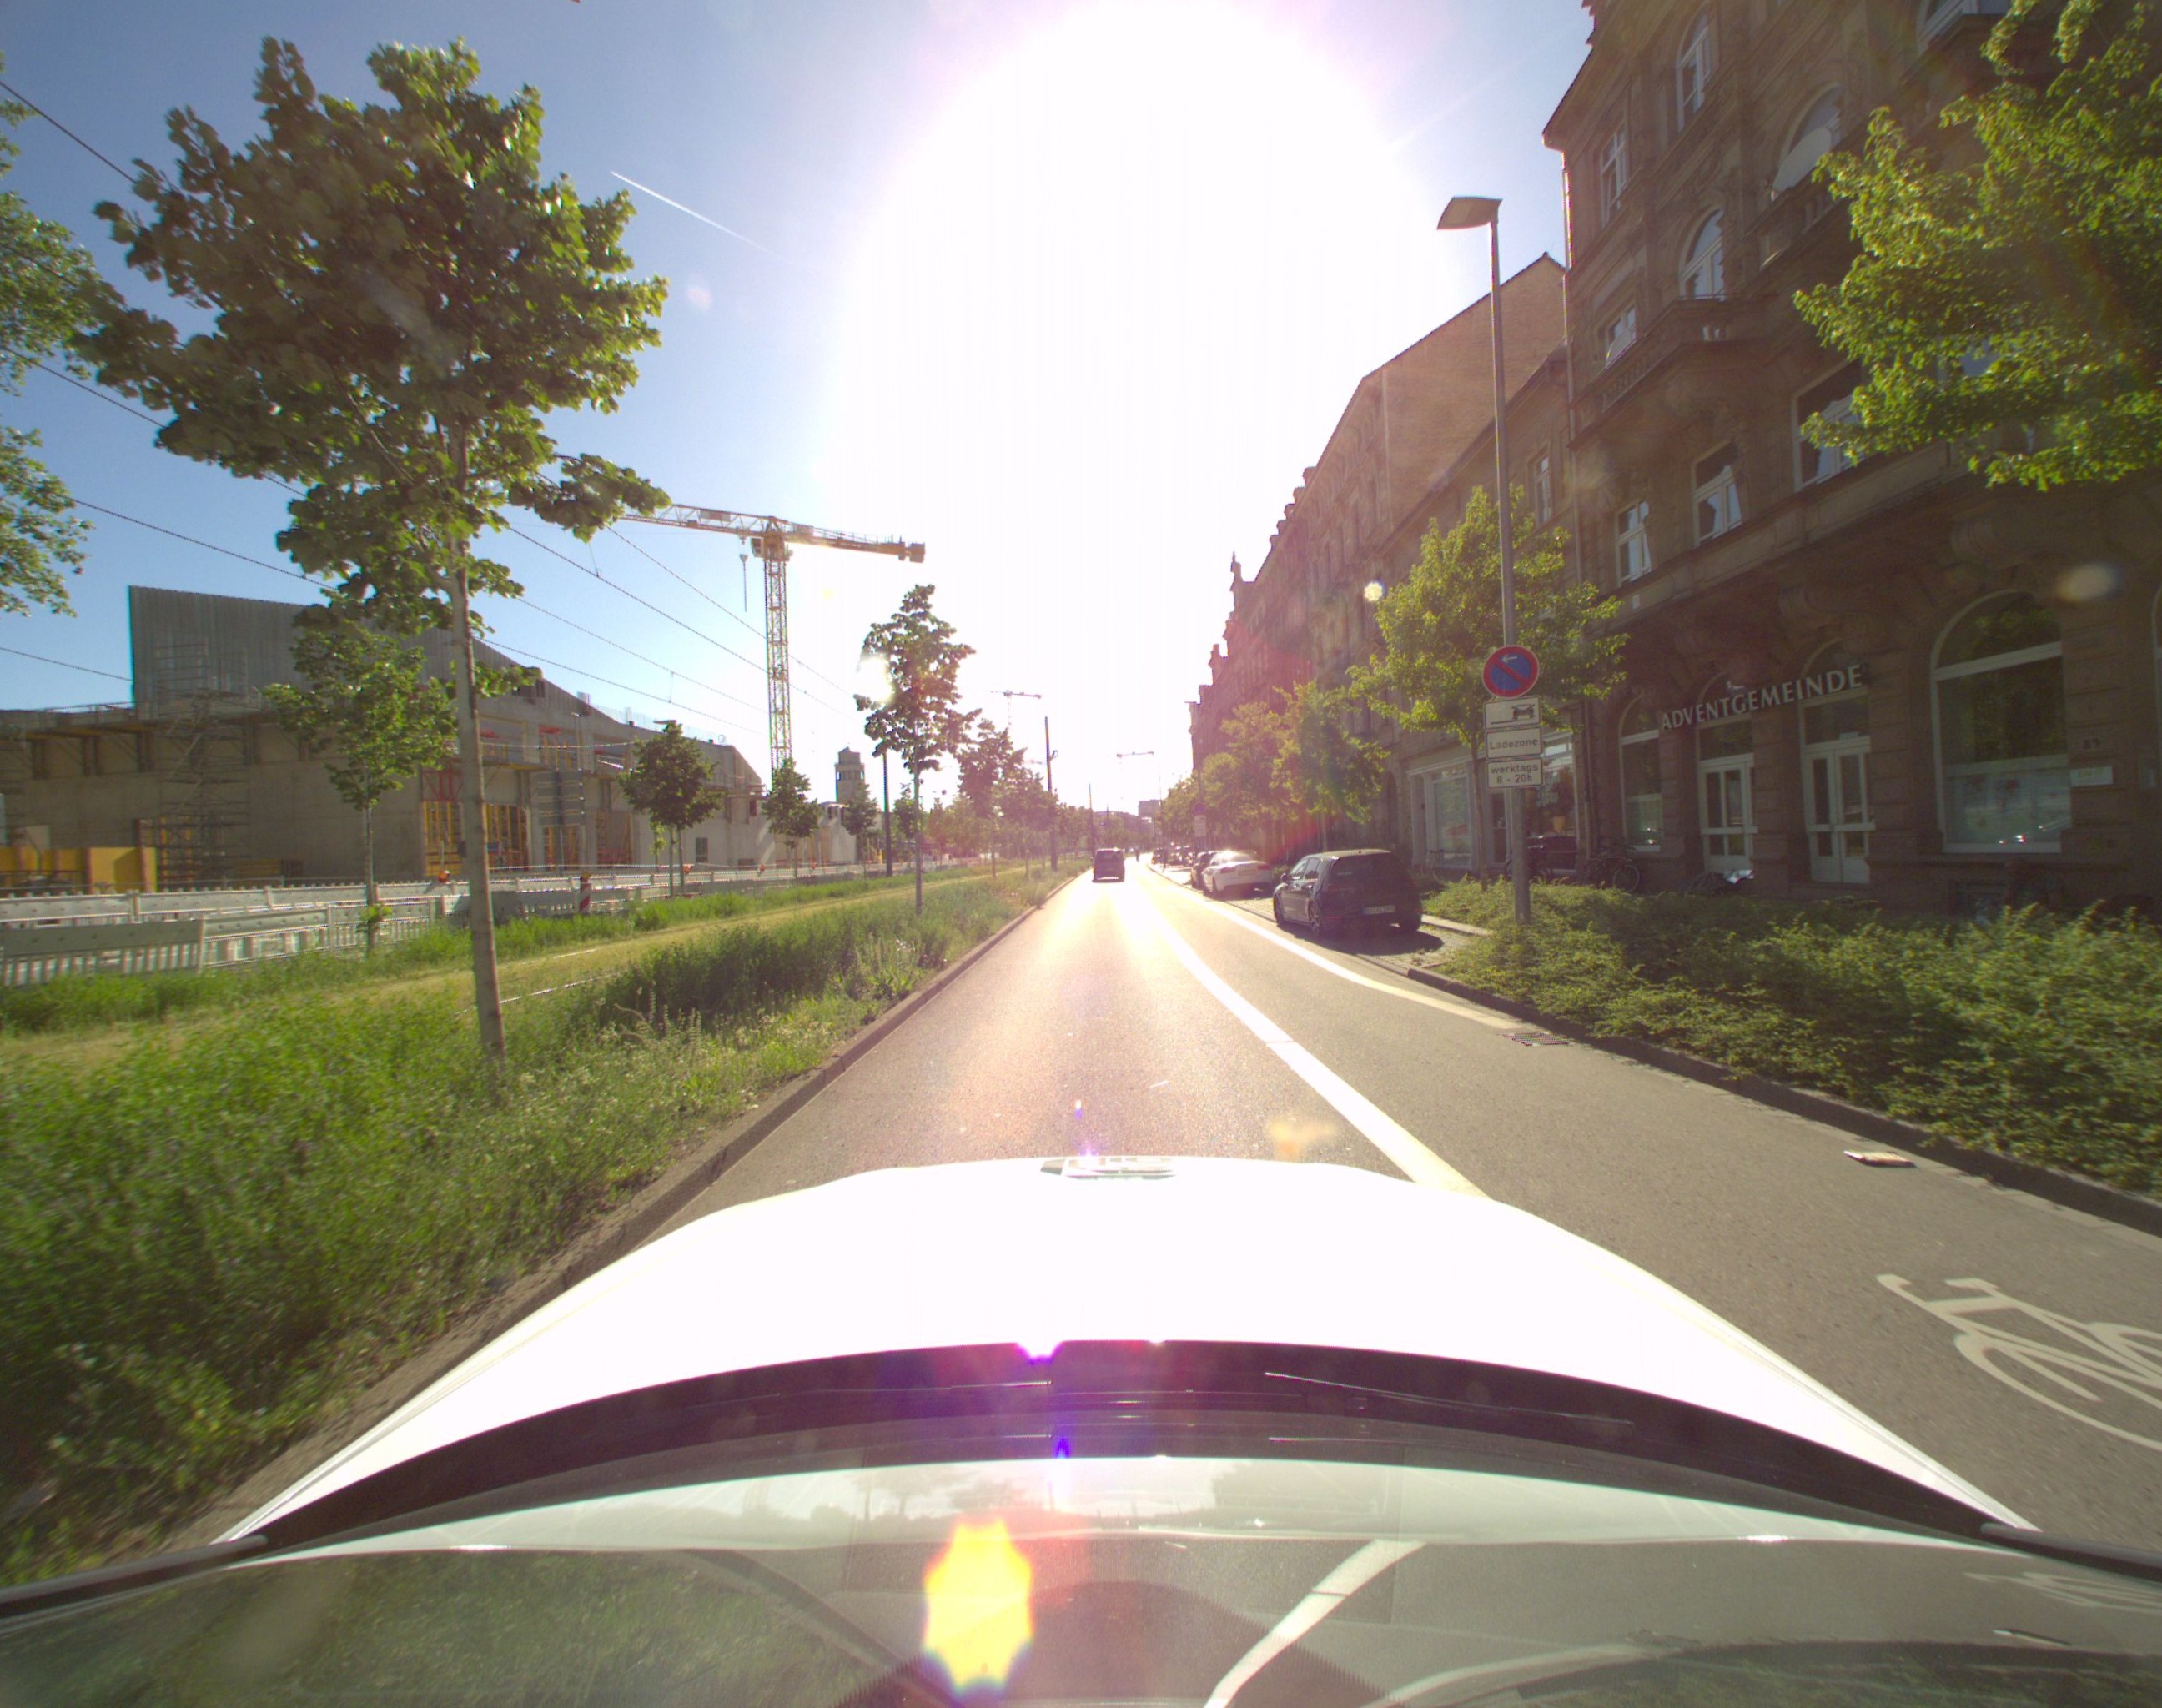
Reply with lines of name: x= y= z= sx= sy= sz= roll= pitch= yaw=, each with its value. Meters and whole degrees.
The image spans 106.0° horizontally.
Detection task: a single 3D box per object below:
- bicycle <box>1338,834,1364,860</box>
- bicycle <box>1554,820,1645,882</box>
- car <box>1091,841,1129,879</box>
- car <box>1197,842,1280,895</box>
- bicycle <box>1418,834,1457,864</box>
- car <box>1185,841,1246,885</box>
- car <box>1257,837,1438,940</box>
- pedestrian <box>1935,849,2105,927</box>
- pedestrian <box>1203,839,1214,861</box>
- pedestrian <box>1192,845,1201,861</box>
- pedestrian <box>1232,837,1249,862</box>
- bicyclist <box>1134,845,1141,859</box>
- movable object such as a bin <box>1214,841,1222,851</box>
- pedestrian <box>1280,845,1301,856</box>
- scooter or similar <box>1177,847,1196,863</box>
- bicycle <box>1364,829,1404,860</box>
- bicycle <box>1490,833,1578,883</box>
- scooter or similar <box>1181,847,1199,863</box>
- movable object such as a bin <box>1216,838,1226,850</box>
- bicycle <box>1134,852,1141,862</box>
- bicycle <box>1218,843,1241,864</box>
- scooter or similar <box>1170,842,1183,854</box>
bicycle: x=11.910 y=-0.324 z=35.947 sx=0.479 sy=1.090 sz=2.058 roll=-4 pitch=1 yaw=2
bicycle: x=11.032 y=-0.056 z=17.409 sx=0.745 sy=1.201 sz=1.801 roll=-4 pitch=0 yaw=2
car: x=1.596 y=0.343 z=46.820 sx=1.987 sy=2.013 sz=3.999 roll=-2 pitch=0 yaw=0
car: x=5.284 y=0.423 z=27.967 sx=1.944 sy=1.495 sz=5.108 roll=-5 pitch=0 yaw=2
bicycle: x=11.822 y=-0.167 z=27.052 sx=0.445 sy=0.945 sz=2.013 roll=-2 pitch=1 yaw=2
car: x=5.645 y=0.349 z=34.700 sx=1.877 sy=1.569 sz=4.222 roll=-5 pitch=0 yaw=1
car: x=4.753 y=0.554 z=15.263 sx=1.760 sy=1.476 sz=4.447 roll=-5 pitch=0 yaw=-1
pedestrian: x=10.800 y=0.372 z=9.397 sx=0.870 sy=0.818 sz=0.977 roll=-2 pitch=0 yaw=-12
pedestrian: x=12.466 y=-0.381 z=79.515 sx=0.814 sy=2.014 sz=1.046 roll=-2 pitch=-2 yaw=2
pedestrian: x=13.002 y=-0.081 z=91.723 sx=0.841 sy=1.742 sz=0.887 roll=-4 pitch=0 yaw=2
pedestrian: x=11.433 y=-0.296 z=58.348 sx=0.992 sy=1.731 sz=0.866 roll=-2 pitch=0 yaw=1
bicyclist: x=6.654 y=-0.213 z=95.692 sx=0.680 sy=1.584 sz=0.840 roll=-3 pitch=1 yaw=1
movable object such as a bin: x=13.445 y=-0.808 z=80.016 sx=0.603 sy=0.916 sz=0.650 roll=-3 pitch=1 yaw=-3
pedestrian: x=12.438 y=-0.232 z=48.427 sx=0.770 sy=0.553 sz=2.008 roll=-4 pitch=1 yaw=2
scooter or similar: x=9.384 y=0.092 z=72.452 sx=1.473 sy=1.216 sz=0.600 roll=-6 pitch=2 yaw=-9
bicycle: x=11.728 y=-0.363 z=31.603 sx=0.718 sy=1.090 sz=2.200 roll=-4 pitch=1 yaw=2
bicycle: x=11.327 y=0.095 z=20.472 sx=0.873 sy=1.104 sz=2.181 roll=-6 pitch=1 yaw=-1
scooter or similar: x=9.592 y=0.083 z=71.689 sx=1.470 sy=1.216 sz=0.601 roll=-5 pitch=2 yaw=-2
movable object such as a bin: x=13.241 y=-0.922 z=76.952 sx=0.723 sy=1.097 sz=0.747 roll=-3 pitch=1 yaw=-3
bicycle: x=6.682 y=0.361 z=95.708 sx=0.698 sy=1.091 sz=2.278 roll=-2 pitch=0 yaw=2
bicycle: x=8.108 y=-0.023 z=44.522 sx=0.649 sy=1.120 sz=2.169 roll=-5 pitch=0 yaw=-4
scooter or similar: x=9.662 y=-0.656 z=82.420 sx=1.214 sy=1.106 sz=0.784 roll=-4 pitch=1 yaw=4
